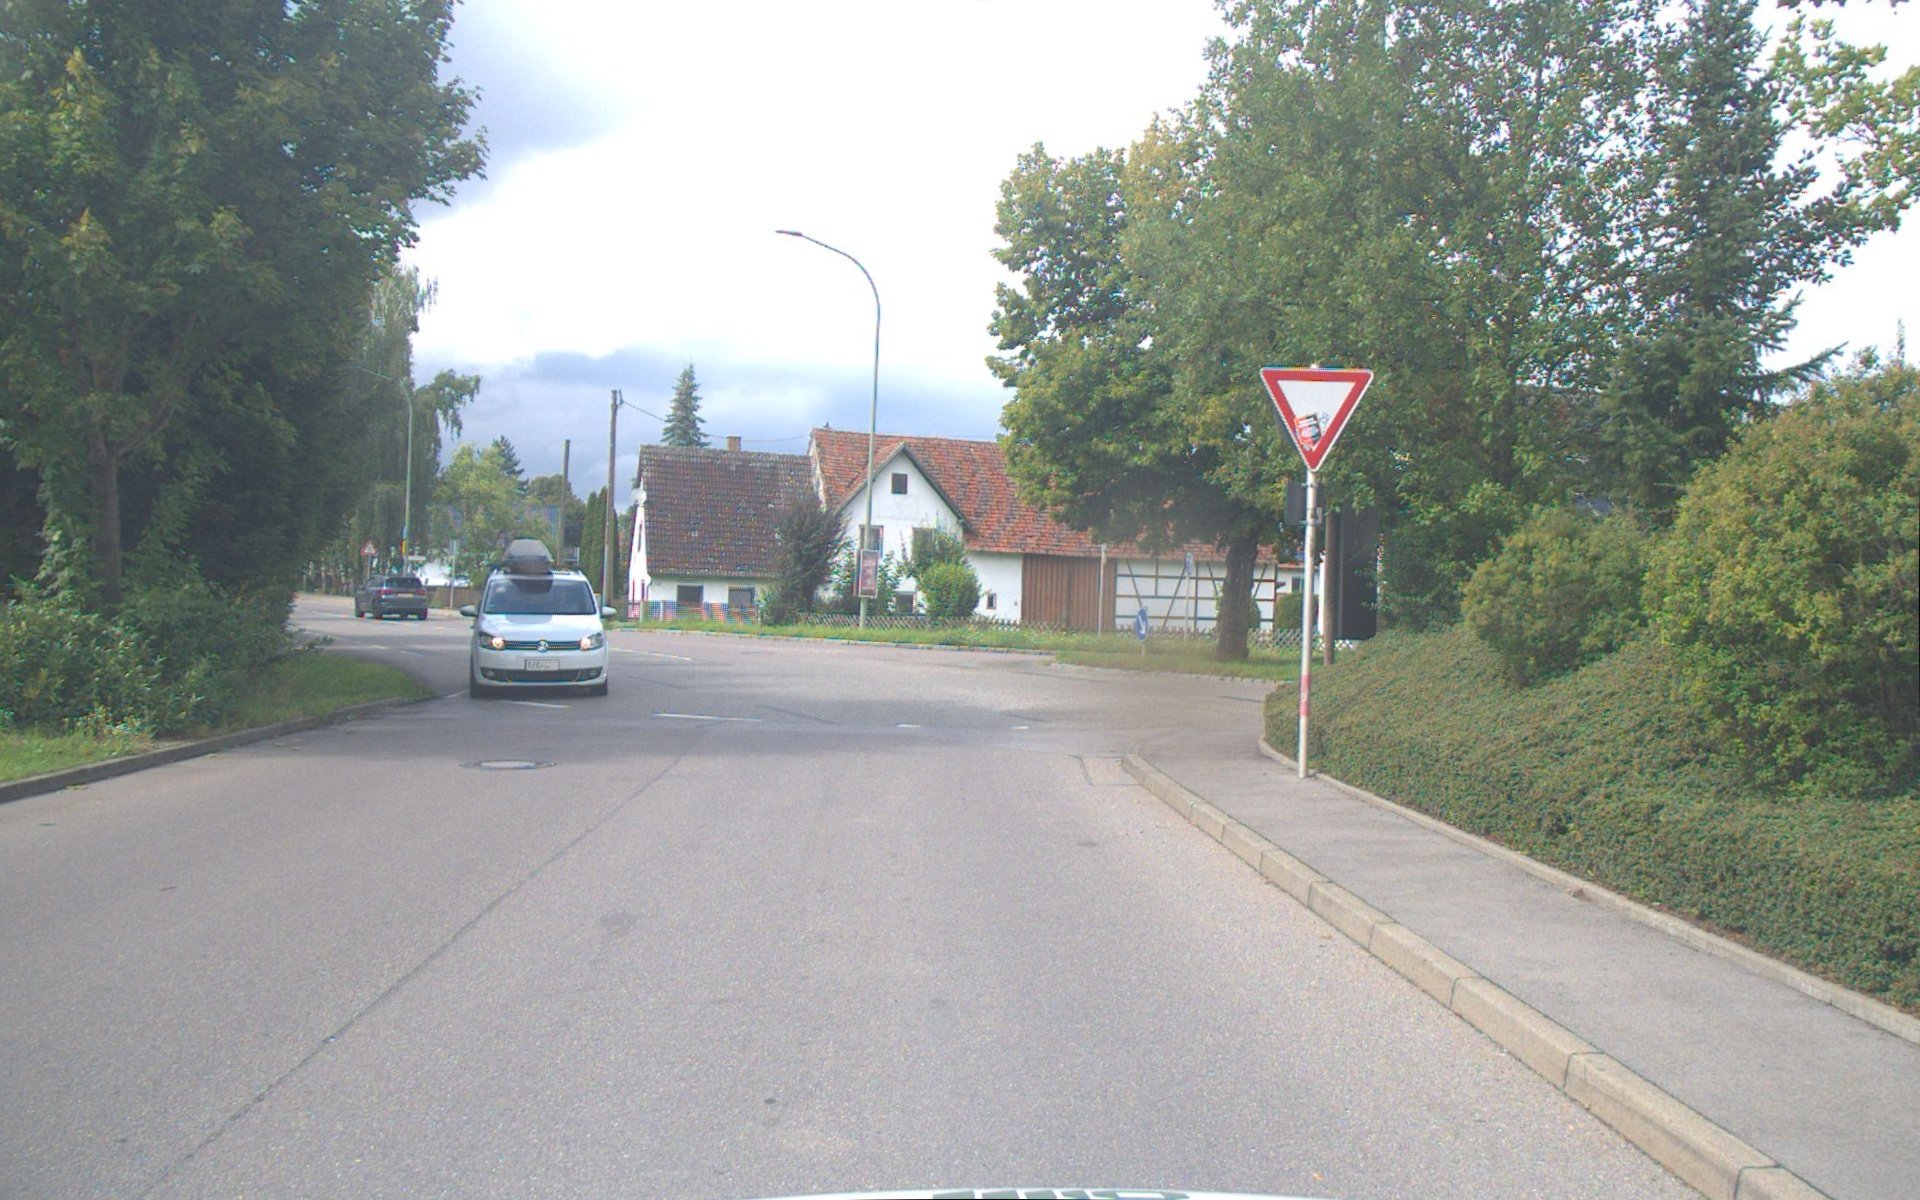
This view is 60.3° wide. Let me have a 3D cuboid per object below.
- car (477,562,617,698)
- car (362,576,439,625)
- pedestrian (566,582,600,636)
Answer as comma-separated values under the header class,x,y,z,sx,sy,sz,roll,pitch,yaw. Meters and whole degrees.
class,x,y,z,sx,sy,sz,roll,pitch,yaw
car,-5.589,0.372,22.747,1.669,1.694,4.021,1,0,-12
car,-19.943,0.006,58.889,1.971,1.579,3.964,2,0,-28
pedestrian,-12.613,0.303,55.334,0.782,1.694,0.703,7,-3,-35
